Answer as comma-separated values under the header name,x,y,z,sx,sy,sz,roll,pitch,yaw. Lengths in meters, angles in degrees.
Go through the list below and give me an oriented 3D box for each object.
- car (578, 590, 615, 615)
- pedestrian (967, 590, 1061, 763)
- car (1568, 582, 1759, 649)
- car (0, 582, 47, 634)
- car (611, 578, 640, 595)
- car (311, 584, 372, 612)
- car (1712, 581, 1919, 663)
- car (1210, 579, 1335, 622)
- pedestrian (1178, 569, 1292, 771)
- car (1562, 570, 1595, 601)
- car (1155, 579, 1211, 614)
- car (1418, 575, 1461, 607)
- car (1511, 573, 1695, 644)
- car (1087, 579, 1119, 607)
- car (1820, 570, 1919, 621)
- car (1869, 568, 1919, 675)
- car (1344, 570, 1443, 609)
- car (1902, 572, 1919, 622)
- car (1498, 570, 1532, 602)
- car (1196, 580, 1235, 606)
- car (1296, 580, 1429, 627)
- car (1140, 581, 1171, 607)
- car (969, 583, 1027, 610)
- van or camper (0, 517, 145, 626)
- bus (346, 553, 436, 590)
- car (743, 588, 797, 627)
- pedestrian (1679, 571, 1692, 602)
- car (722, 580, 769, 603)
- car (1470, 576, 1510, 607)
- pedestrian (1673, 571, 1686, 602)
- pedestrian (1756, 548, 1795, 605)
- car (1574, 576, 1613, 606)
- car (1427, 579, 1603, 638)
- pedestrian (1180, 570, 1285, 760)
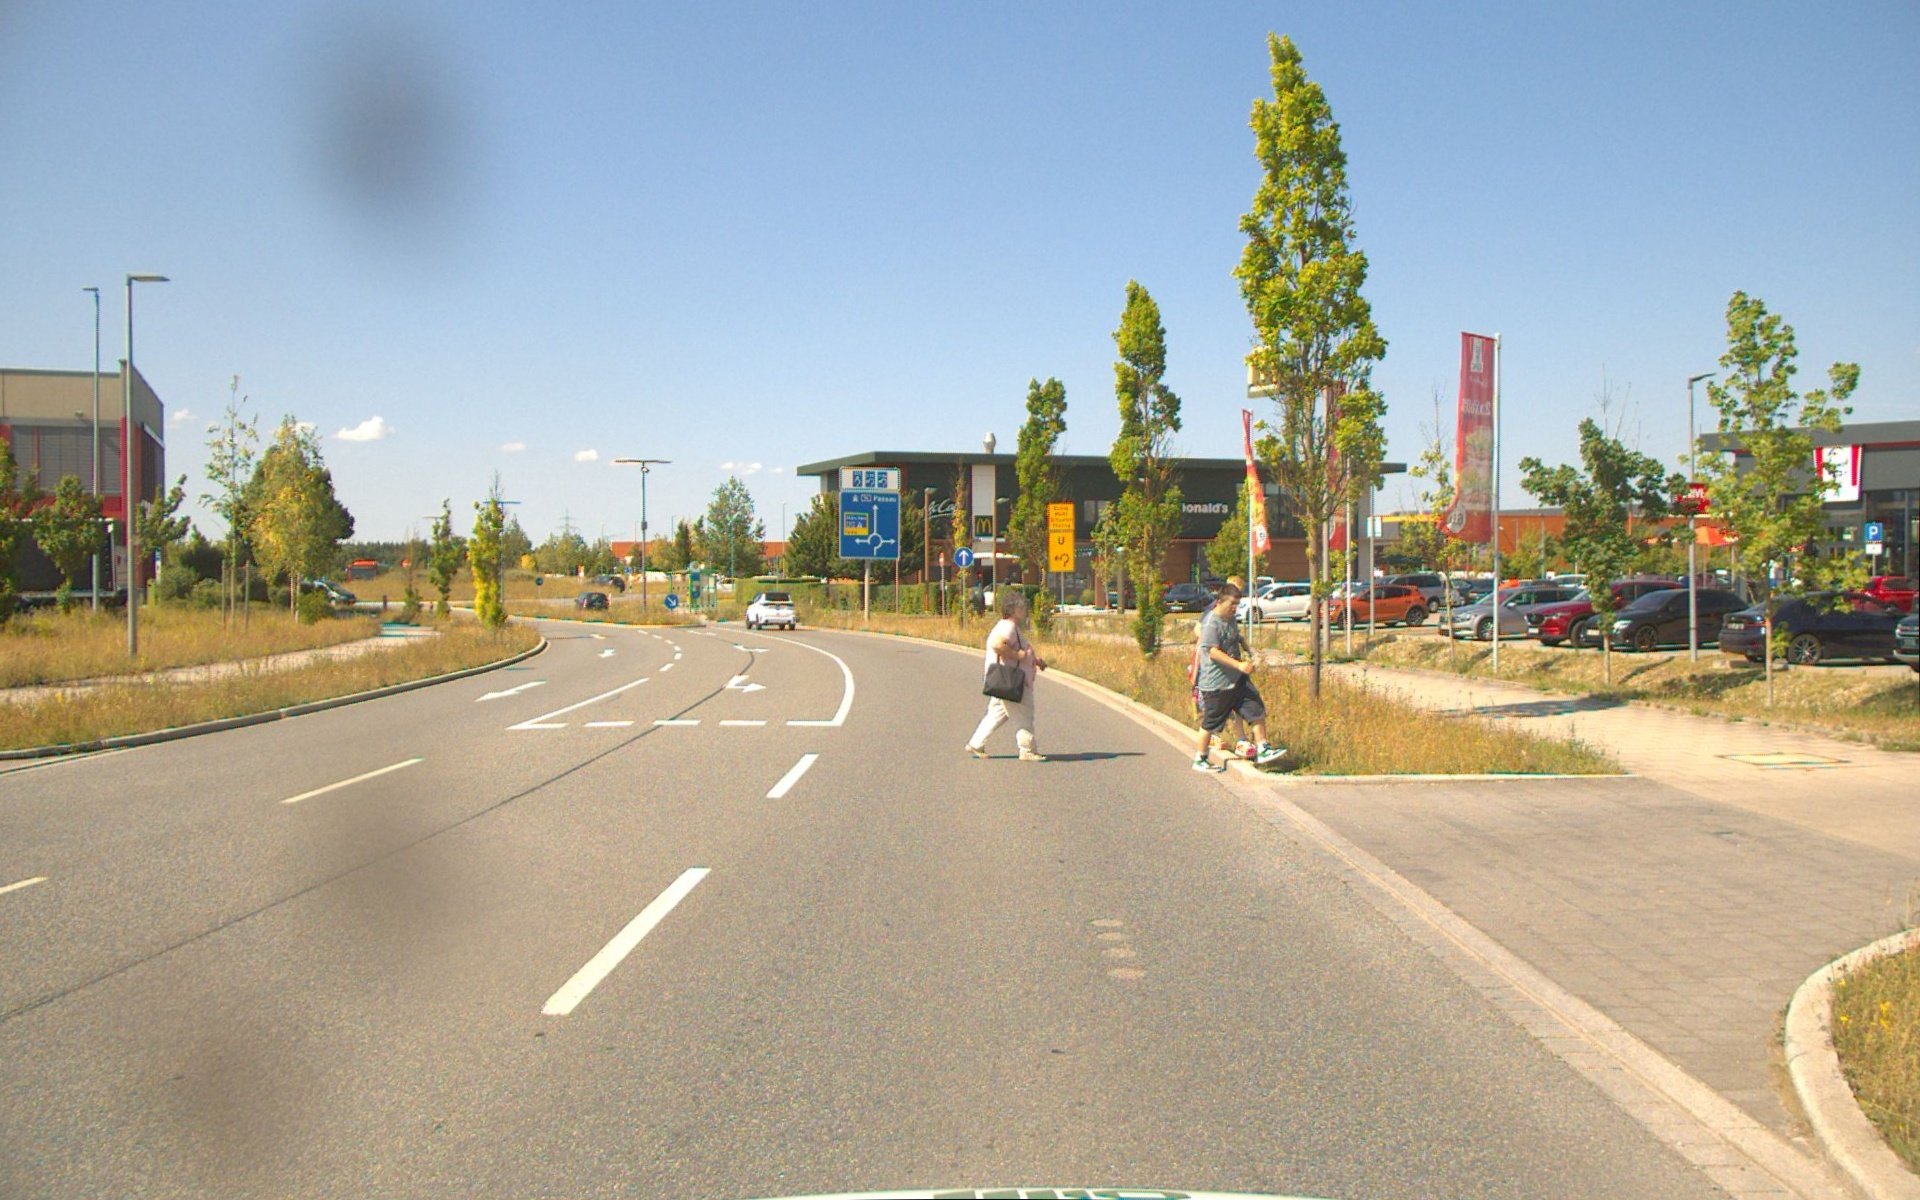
name,x,y,z,sx,sy,sz,roll,pitch,yaw
car,-21.803,0.136,99.193,1.594,1.459,3.767,0,0,-22
pedestrian,0.473,0.657,14.776,0.777,1.495,0.949,0,0,-2
car,17.199,0.353,40.496,4.084,1.474,1.784,-2,1,-15
car,-30.695,0.250,50.847,4.300,1.579,1.828,0,0,-19
car,-29.744,-1.177,147.034,1.965,1.465,3.976,-1,1,-21
car,-43.616,-0.148,116.595,4.340,1.825,1.949,-1,1,38
car,17.421,0.419,32.679,4.313,1.474,1.792,-1,1,4
car,12.182,-0.002,64.564,4.452,1.516,1.861,-1,1,-16
pedestrian,2.311,0.573,13.995,0.792,1.657,0.866,0,0,-2
car,36.001,-0.854,96.367,1.748,1.788,4.170,-1,1,20
car,10.129,-0.173,74.971,1.662,1.487,4.170,-1,1,20
car,23.388,-0.445,80.591,1.748,1.476,4.170,-1,1,20
car,16.667,0.203,42.950,4.076,1.694,1.865,-1,1,-9
car,8.587,-0.446,99.103,1.754,1.632,4.003,-1,0,8
car,29.556,-0.168,52.276,4.495,1.456,1.855,-2,1,-24
car,18.105,0.309,28.185,4.320,1.765,1.789,-1,1,-5
car,19.383,-0.471,73.937,4.101,1.664,1.778,-1,0,-24
car,30.699,-0.141,49.704,4.495,1.456,1.855,-2,1,-24
car,31.961,-0.838,95.172,1.748,1.788,4.170,-1,1,20
car,15.654,-0.439,101.279,1.755,1.539,4.002,-1,1,17
car,13.927,0.107,57.276,4.136,1.516,1.861,-1,1,-16
car,11.805,-0.377,99.745,1.754,1.459,4.003,-1,0,8
car,2.109,-0.205,92.132,1.768,1.459,3.972,-1,1,-23
van or camper,-31.595,-0.936,55.114,7.572,3.529,2.543,0,0,-18
bus,-53.685,-2.775,156.578,2.727,3.132,12.216,-1,3,8
car,-7.509,0.269,65.163,1.589,1.459,3.778,0,0,-14
pedestrian,30.138,-0.566,68.728,0.374,1.262,0.290,-1,0,-25
car,-18.945,-0.774,146.315,3.905,2.049,1.835,0,0,0
car,26.180,-0.454,81.598,1.748,1.476,4.170,-1,1,20
pedestrian,30.010,-0.569,69.003,0.374,1.262,0.290,-1,0,-25
pedestrian,29.449,-0.840,59.761,0.899,2.049,0.886,-1,0,-19
car,32.366,-0.481,84.622,1.748,1.476,4.170,-1,1,20
car,15.937,0.218,47.553,4.475,1.516,1.863,-2,1,-12
pedestrian,2.436,0.564,14.854,0.785,1.658,0.804,0,0,-2
